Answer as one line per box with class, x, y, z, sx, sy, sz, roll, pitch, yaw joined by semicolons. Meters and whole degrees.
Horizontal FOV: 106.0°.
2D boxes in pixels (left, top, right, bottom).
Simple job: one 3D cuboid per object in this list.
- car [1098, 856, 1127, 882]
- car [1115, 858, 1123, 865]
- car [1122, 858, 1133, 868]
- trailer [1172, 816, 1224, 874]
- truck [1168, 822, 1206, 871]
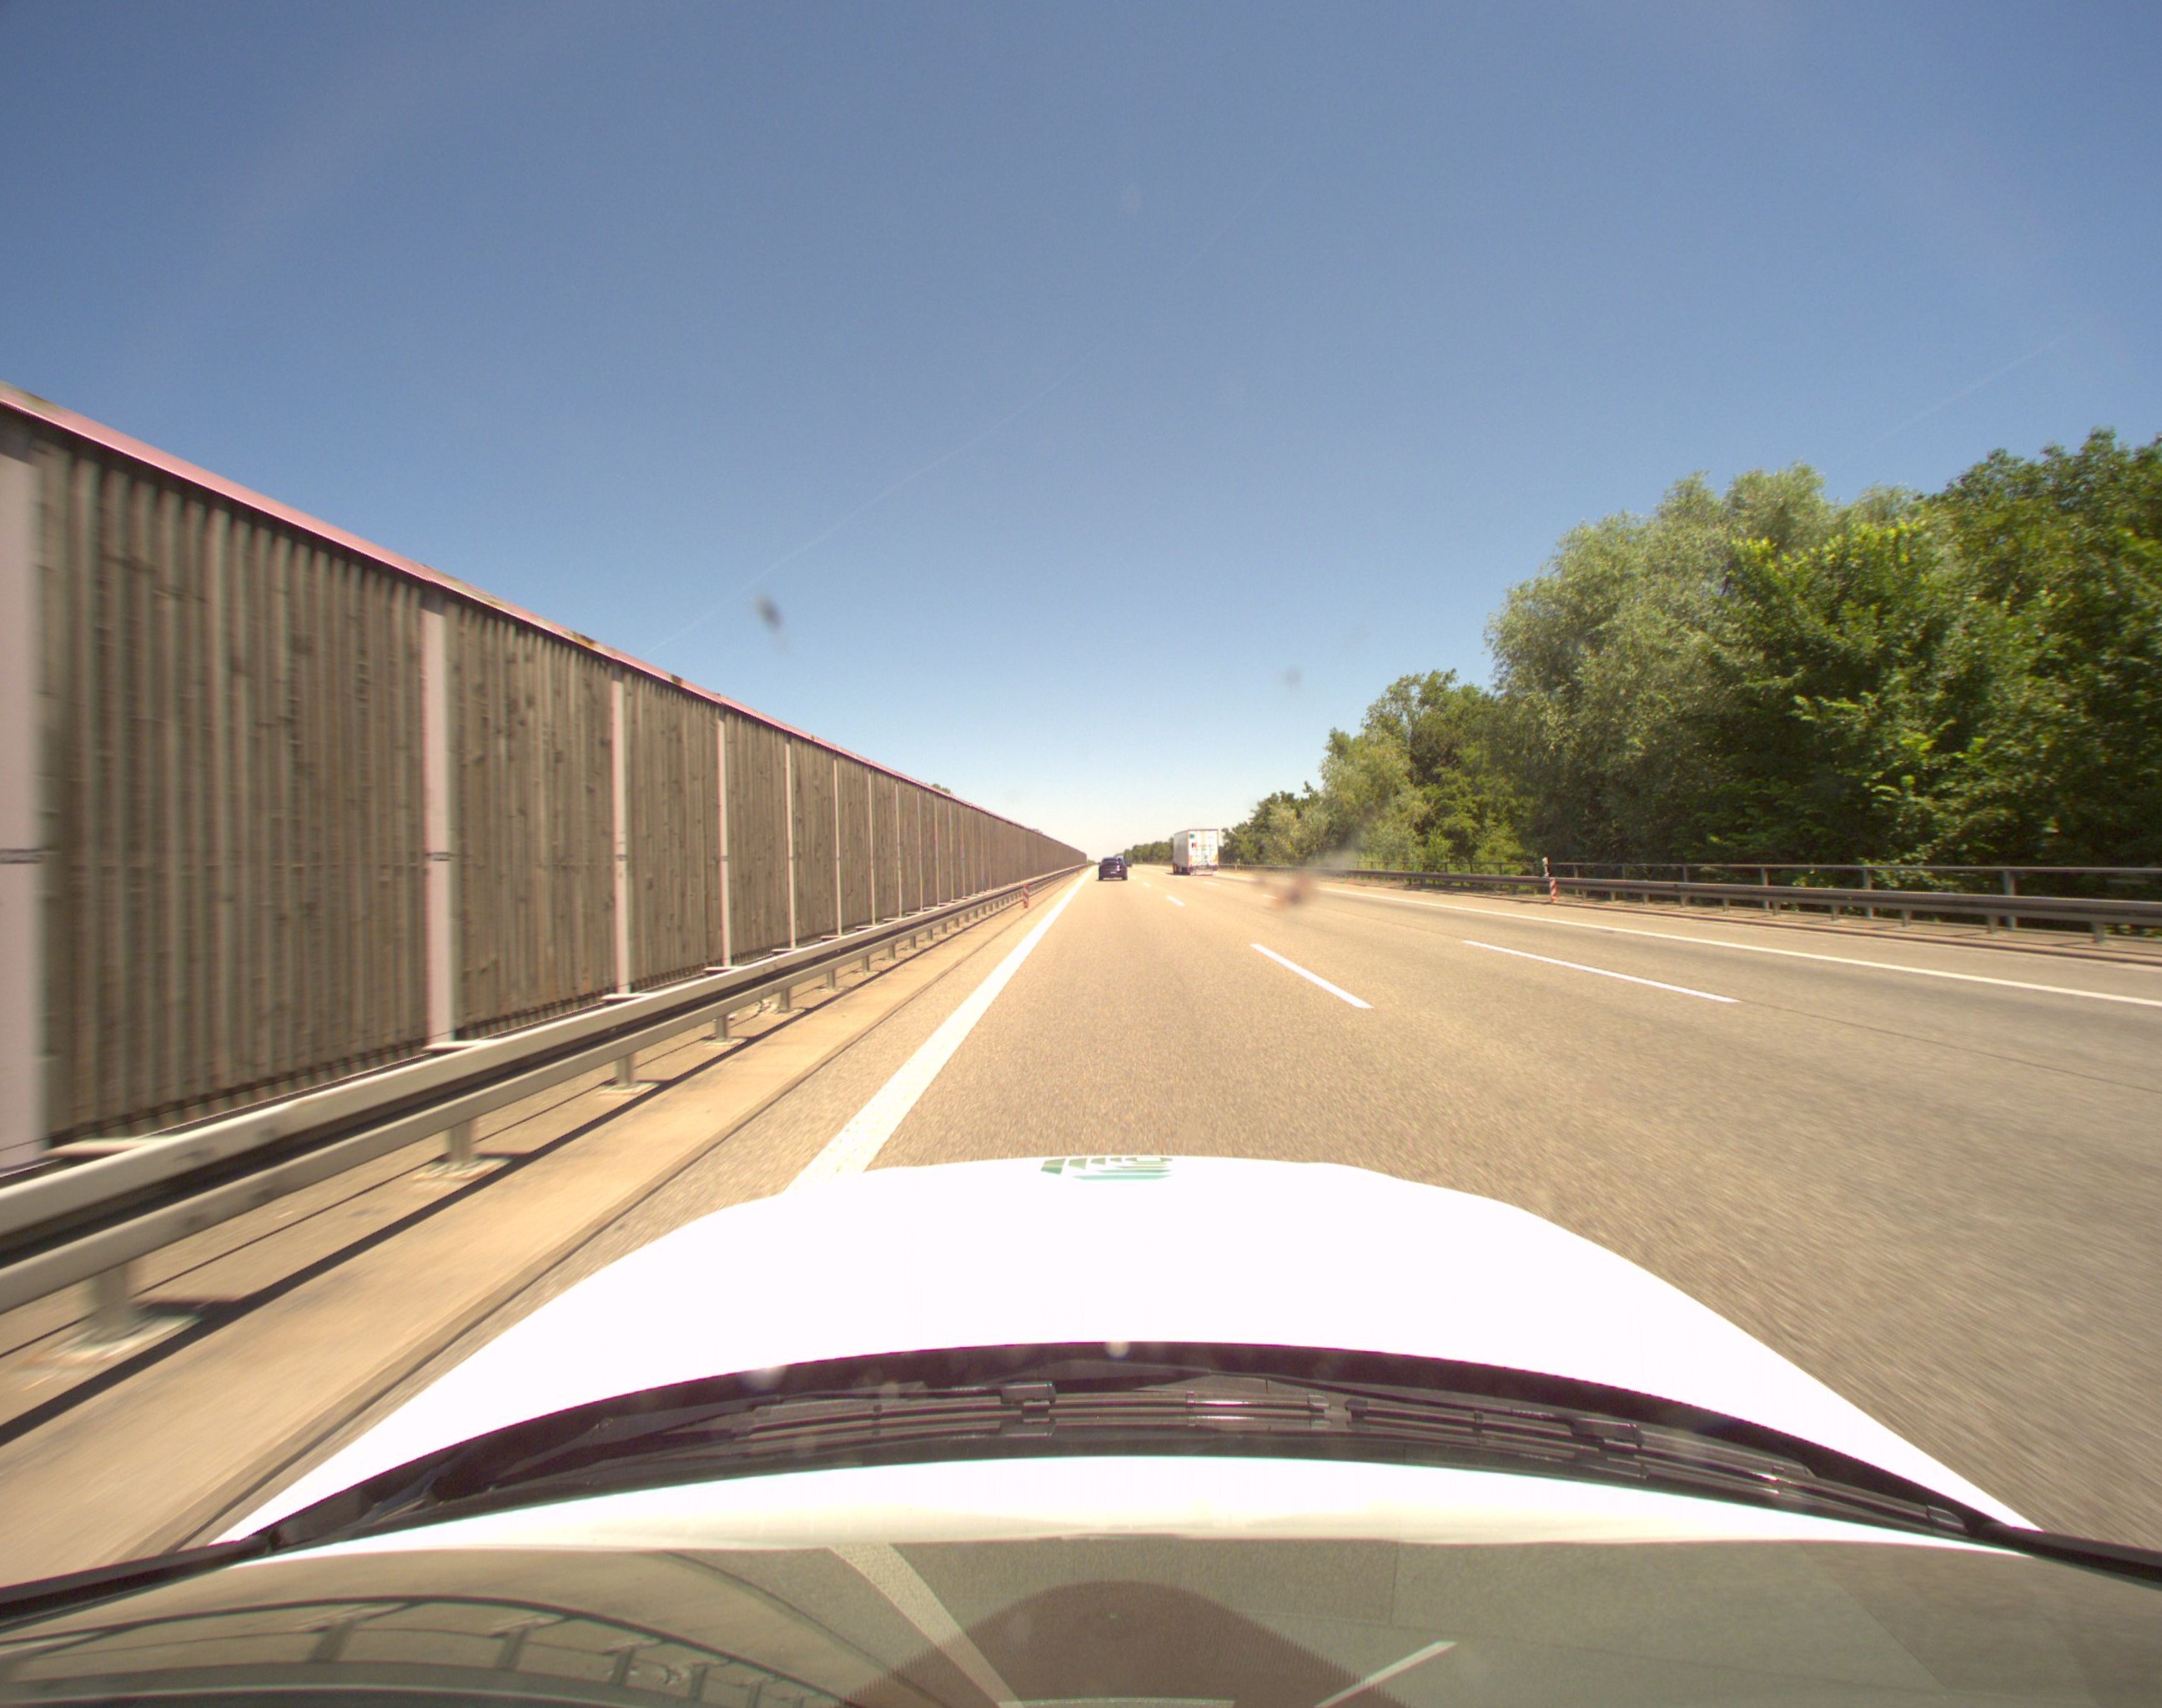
car;2.165;1.027;57.608;1.874;1.792;3.999;-1;0;0
car;9.366;1.857;200.680;1.896;1.584;4.305;-2;-1;2
car;8.457;1.642;149.207;1.896;1.584;4.305;-2;-1;2
trailer;10.735;-0.705;76.103;3.257;4.837;14.034;-1;0;2
truck;11.023;-0.735;85.529;3.222;4.889;6.974;-1;0;2
